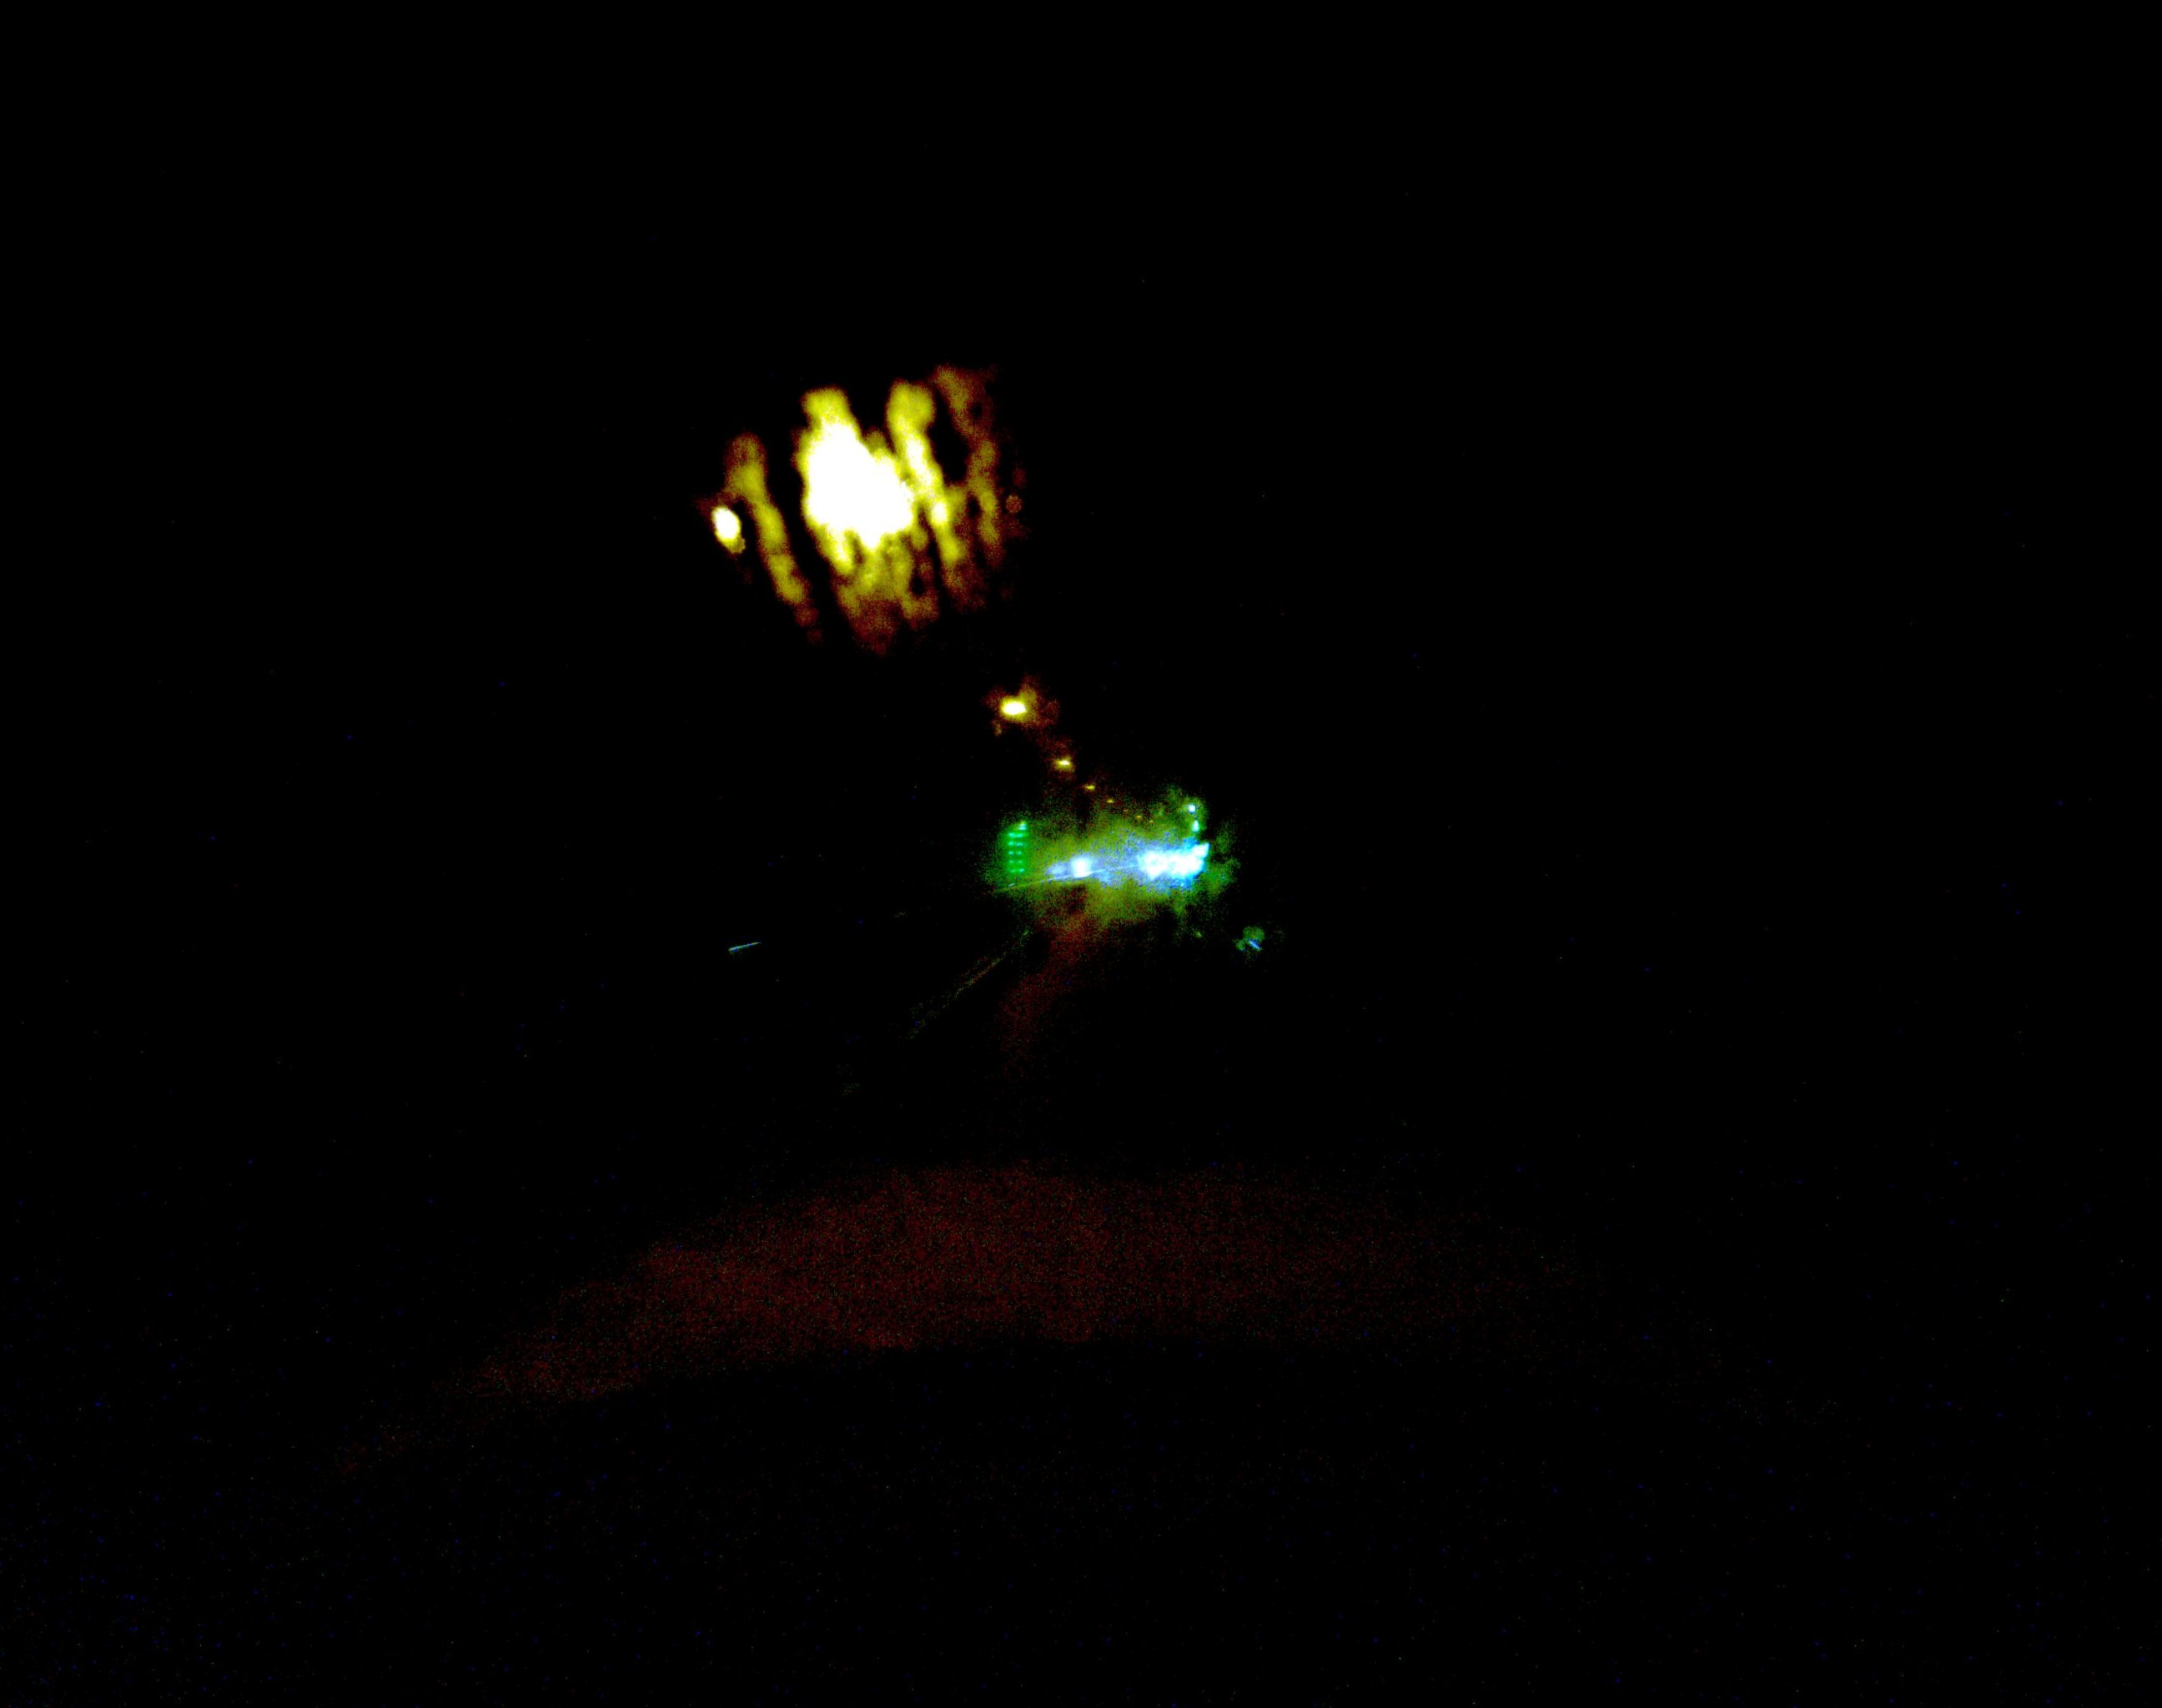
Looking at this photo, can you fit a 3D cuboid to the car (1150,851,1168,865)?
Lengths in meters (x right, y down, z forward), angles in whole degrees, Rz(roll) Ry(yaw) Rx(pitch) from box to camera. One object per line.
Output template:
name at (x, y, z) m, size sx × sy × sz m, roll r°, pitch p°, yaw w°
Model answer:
car at (9.506, 0.523, 99.434) m, size 1.982 × 1.650 × 4.010 m, roll 0°, pitch 0°, yaw 8°

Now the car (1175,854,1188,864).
car at (15.748, 0.830, 127.741) m, size 1.837 × 1.474 × 4.004 m, roll -1°, pitch 0°, yaw 4°

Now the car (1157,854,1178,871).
car at (8.558, 0.812, 80.702) m, size 1.983 × 1.650 × 4.008 m, roll 0°, pitch 0°, yaw 7°
